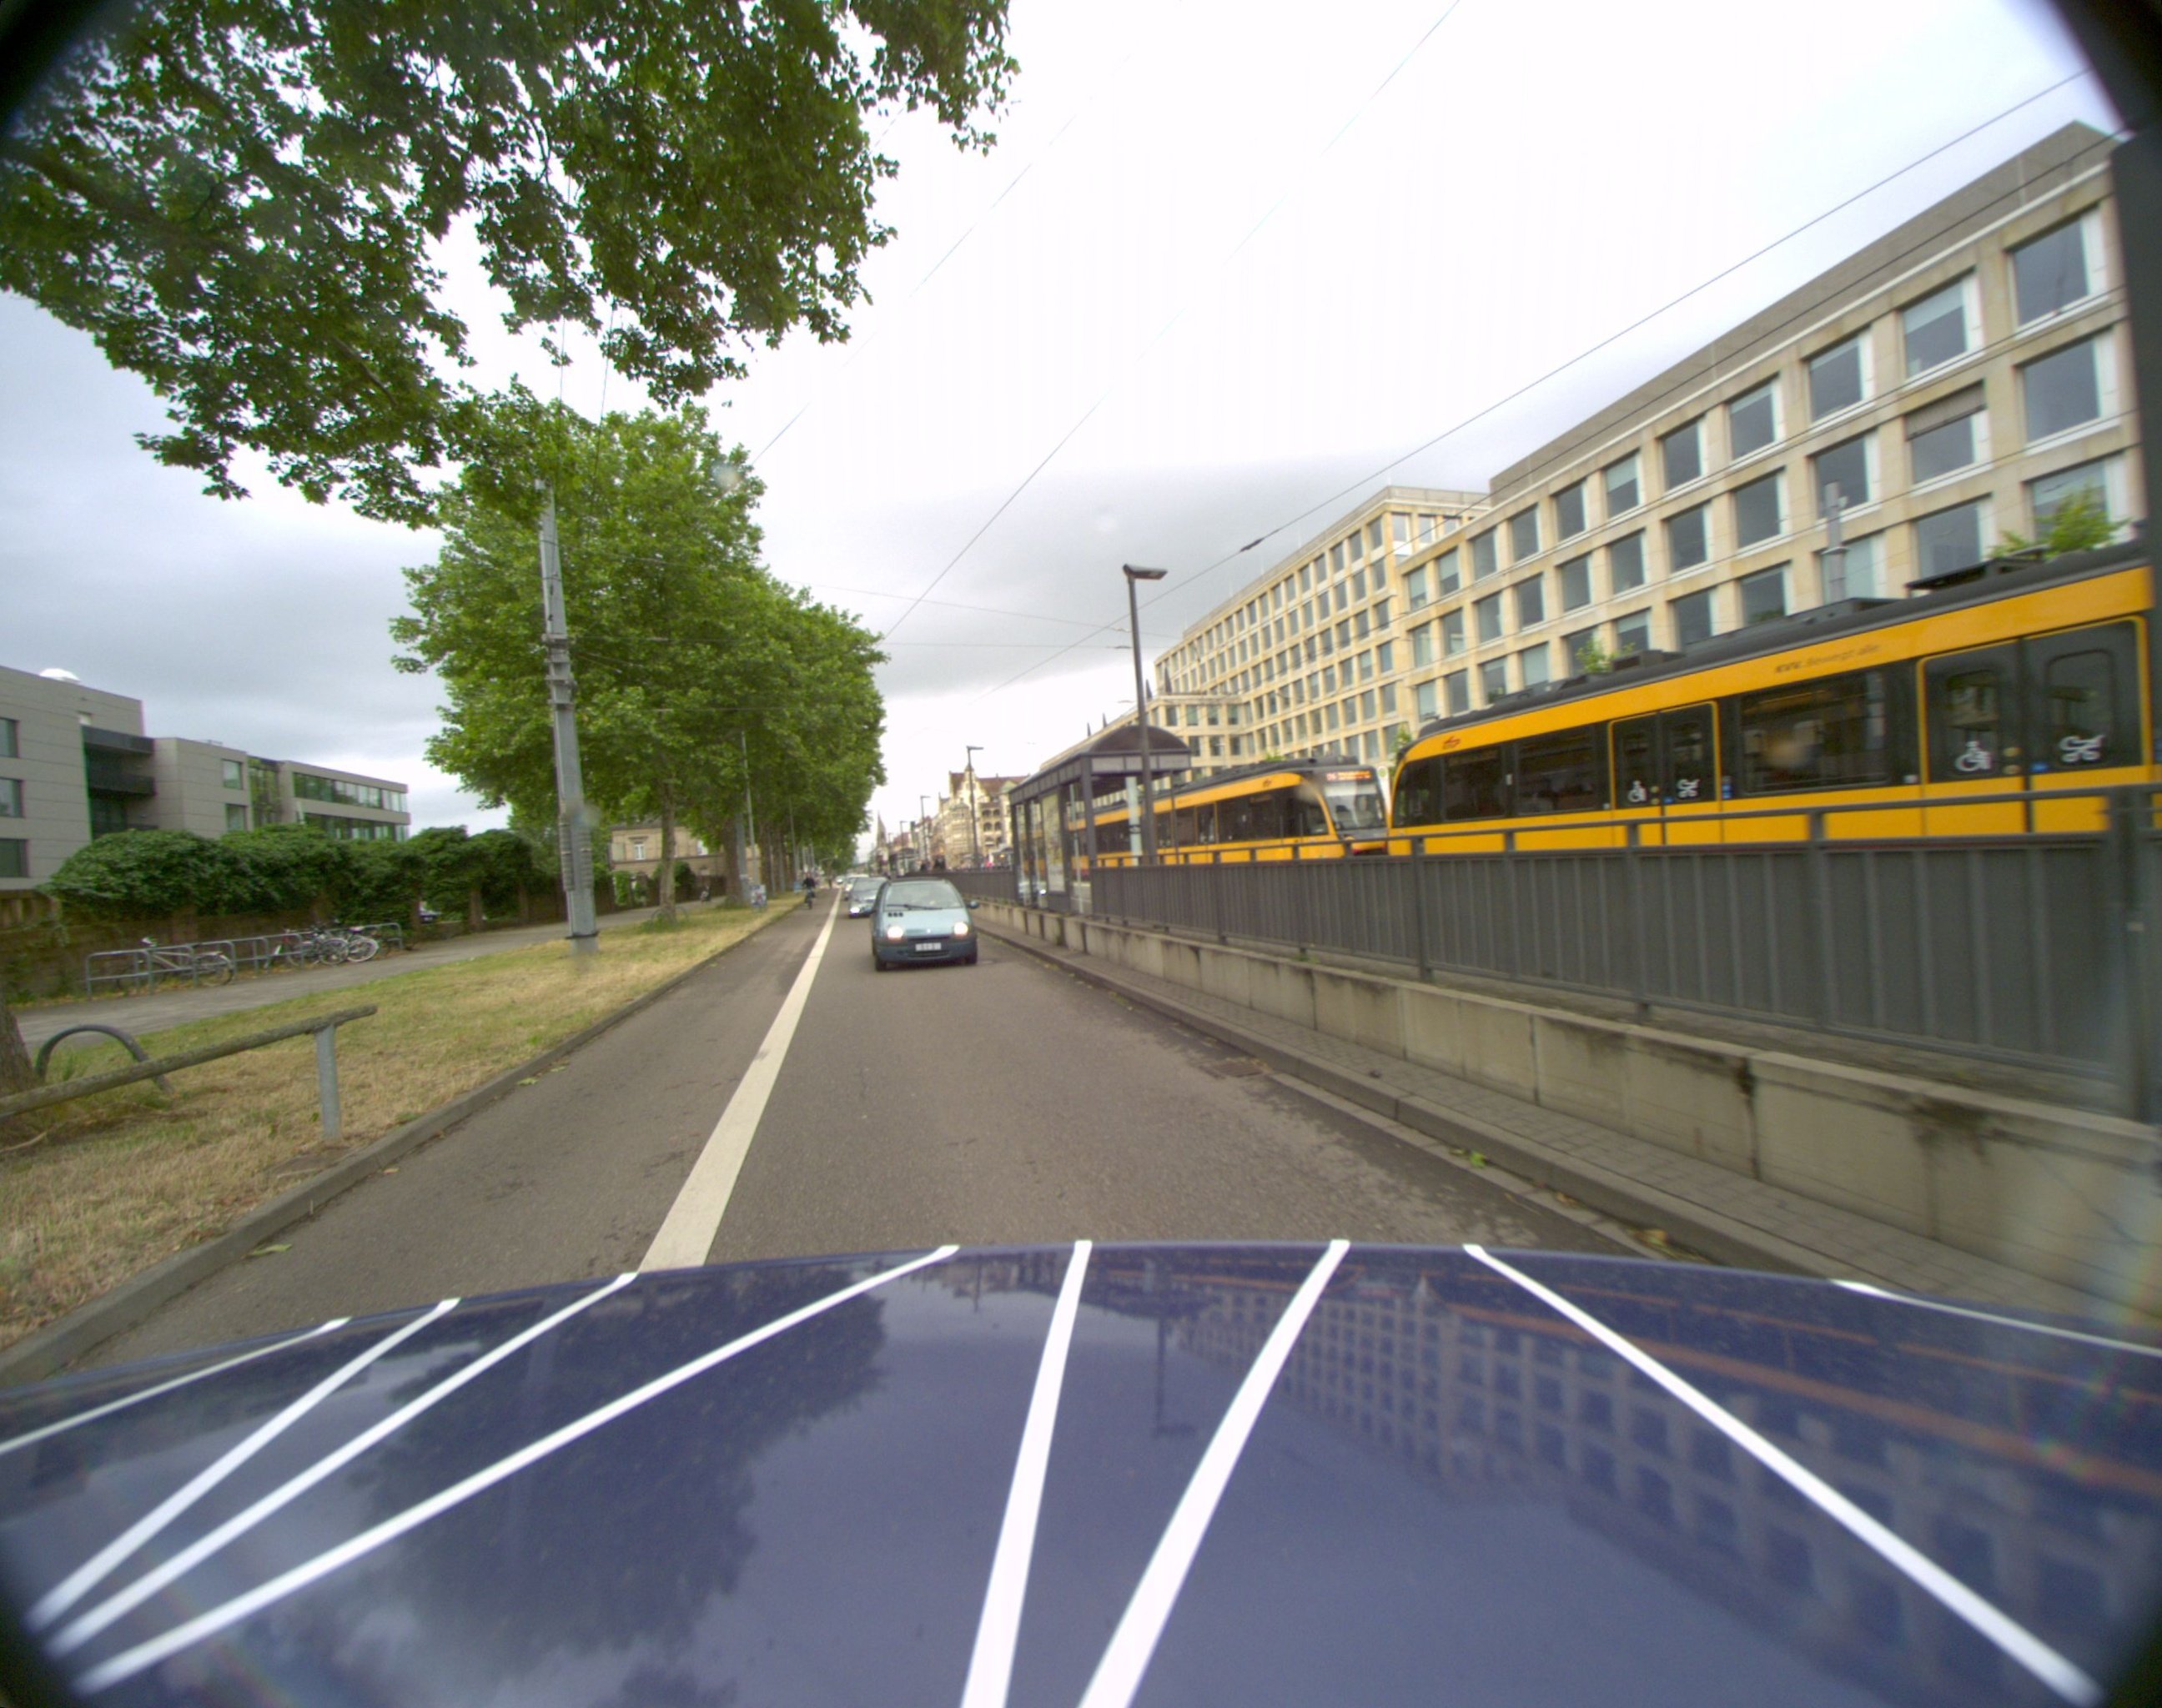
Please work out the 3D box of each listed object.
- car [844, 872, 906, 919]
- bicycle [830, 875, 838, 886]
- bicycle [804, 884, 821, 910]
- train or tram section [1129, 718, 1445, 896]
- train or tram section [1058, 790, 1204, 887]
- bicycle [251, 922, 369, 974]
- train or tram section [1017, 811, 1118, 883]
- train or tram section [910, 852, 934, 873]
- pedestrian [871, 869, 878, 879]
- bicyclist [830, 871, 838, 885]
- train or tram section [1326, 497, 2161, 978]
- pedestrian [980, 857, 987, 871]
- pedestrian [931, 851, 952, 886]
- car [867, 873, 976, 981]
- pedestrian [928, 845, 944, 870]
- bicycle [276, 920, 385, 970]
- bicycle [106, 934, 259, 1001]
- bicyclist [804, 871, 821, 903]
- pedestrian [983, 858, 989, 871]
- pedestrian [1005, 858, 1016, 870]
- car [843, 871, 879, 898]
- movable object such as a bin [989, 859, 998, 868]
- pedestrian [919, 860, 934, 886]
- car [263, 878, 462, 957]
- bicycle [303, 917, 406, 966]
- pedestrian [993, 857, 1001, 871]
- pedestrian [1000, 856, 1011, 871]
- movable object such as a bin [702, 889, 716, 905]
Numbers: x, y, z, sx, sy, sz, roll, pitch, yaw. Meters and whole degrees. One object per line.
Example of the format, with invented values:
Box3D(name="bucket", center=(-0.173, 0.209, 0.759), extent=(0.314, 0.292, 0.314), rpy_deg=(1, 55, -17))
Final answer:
Box3D(name="car", center=(-7.812, 1.509, 28.730), extent=(2.001, 1.443, 4.094), rpy_deg=(-5, 1, -17))
Box3D(name="bicycle", center=(-30.162, 3.212, 92.867), extent=(0.816, 1.163, 2.273), rpy_deg=(-5, 1, -19))
Box3D(name="bicycle", center=(-13.247, 2.082, 37.504), extent=(0.655, 1.143, 2.279), rpy_deg=(-5, 1, -19))
Box3D(name="train or tram section", center=(5.543, -1.123, 25.103), extent=(3.192, 4.155, 13.601), rpy_deg=(-5, 1, -16))
Box3D(name="train or tram section", center=(1.986, -0.605, 37.175), extent=(3.175, 3.839, 11.296), rpy_deg=(-5, 1, -16))
Box3D(name="bicycle", center=(-19.238, 2.330, 19.003), extent=(1.982, 1.088, 0.549), rpy_deg=(-3, 1, -18))
Box3D(name="train or tram section", center=(-1.184, -0.347, 47.975), extent=(3.250, 3.839, 11.296), rpy_deg=(-5, 1, -16))
Box3D(name="train or tram section", center=(-30.015, 1.608, 142.879), extent=(2.865, 3.671, 13.501), rpy_deg=(-5, 1, -18))
Box3D(name="pedestrian", center=(-35.869, 3.408, 132.069), extent=(0.651, 1.633, 0.862), rpy_deg=(-4, 1, 31))
Box3D(name="bicyclist", center=(-30.204, 2.950, 92.924), extent=(0.813, 1.591, 1.188), rpy_deg=(-5, 1, -17))
Box3D(name="train or tram section", center=(9.592, -1.052, 11.518), extent=(3.192, 4.155, 14.713), rpy_deg=(-5, 1, -16))
Box3D(name="pedestrian", center=(-12.992, 1.346, 101.109), extent=(0.596, 1.759, 0.589), rpy_deg=(-3, 1, 36))
Box3D(name="pedestrian", center=(-8.414, 0.883, 45.808), extent=(1.062, 2.002, 0.839), rpy_deg=(-5, 1, -17))
Box3D(name="car", center=(-2.852, 1.138, 13.127), extent=(1.536, 1.464, 3.349), rpy_deg=(-4, 1, -16))
Box3D(name="pedestrian", center=(-10.683, 0.276, 56.017), extent=(0.673, 1.783, 1.111), rpy_deg=(-5, 1, -30))
Box3D(name="bicycle", center=(-19.363, 2.330, 19.631), extent=(1.908, 1.091, 0.549), rpy_deg=(-3, 1, -18))
Box3D(name="bicycle", center=(-17.996, 2.257, 15.267), extent=(1.929, 1.085, 0.549), rpy_deg=(-3, 1, -18))
Box3D(name="bicyclist", center=(-13.257, 1.641, 37.542), extent=(0.643, 1.522, 0.663), rpy_deg=(-5, 1, -19))
Box3D(name="pedestrian", center=(-11.726, 1.252, 93.555), extent=(0.537, 1.598, 0.565), rpy_deg=(-5, 1, -10))
Box3D(name="pedestrian", center=(-8.179, 1.156, 87.948), extent=(1.042, 1.364, 0.938), rpy_deg=(-5, 1, -14))
Box3D(name="car", center=(-13.962, 1.883, 48.186), extent=(2.001, 1.443, 4.094), rpy_deg=(-5, 1, -17))
Box3D(name="movable object such as a bin", center=(-10.666, 1.163, 92.441), extent=(0.721, 1.015, 0.622), rpy_deg=(-3, 1, 40))
Box3D(name="pedestrian", center=(-11.090, 1.340, 54.431), extent=(0.673, 1.783, 1.111), rpy_deg=(-5, 1, -25))
Box3D(name="car", center=(-28.915, 2.479, 30.840), extent=(5.252, 2.408, 2.072), rpy_deg=(-7, 2, -19))
Box3D(name="bicycle", center=(-19.440, 2.334, 20.376), extent=(1.897, 1.098, 0.549), rpy_deg=(-3, 1, -18))
Box3D(name="pedestrian", center=(-10.247, 1.210, 92.890), extent=(0.655, 1.598, 0.580), rpy_deg=(-3, 2, 40))
Box3D(name="pedestrian", center=(-8.938, 1.086, 90.143), extent=(1.042, 1.676, 0.938), rpy_deg=(-5, 1, -14))
Box3D(name="movable object such as a bin", center=(-28.906, 3.332, 59.053), extent=(0.613, 1.105, 1.014), rpy_deg=(-5, 0, -11))
